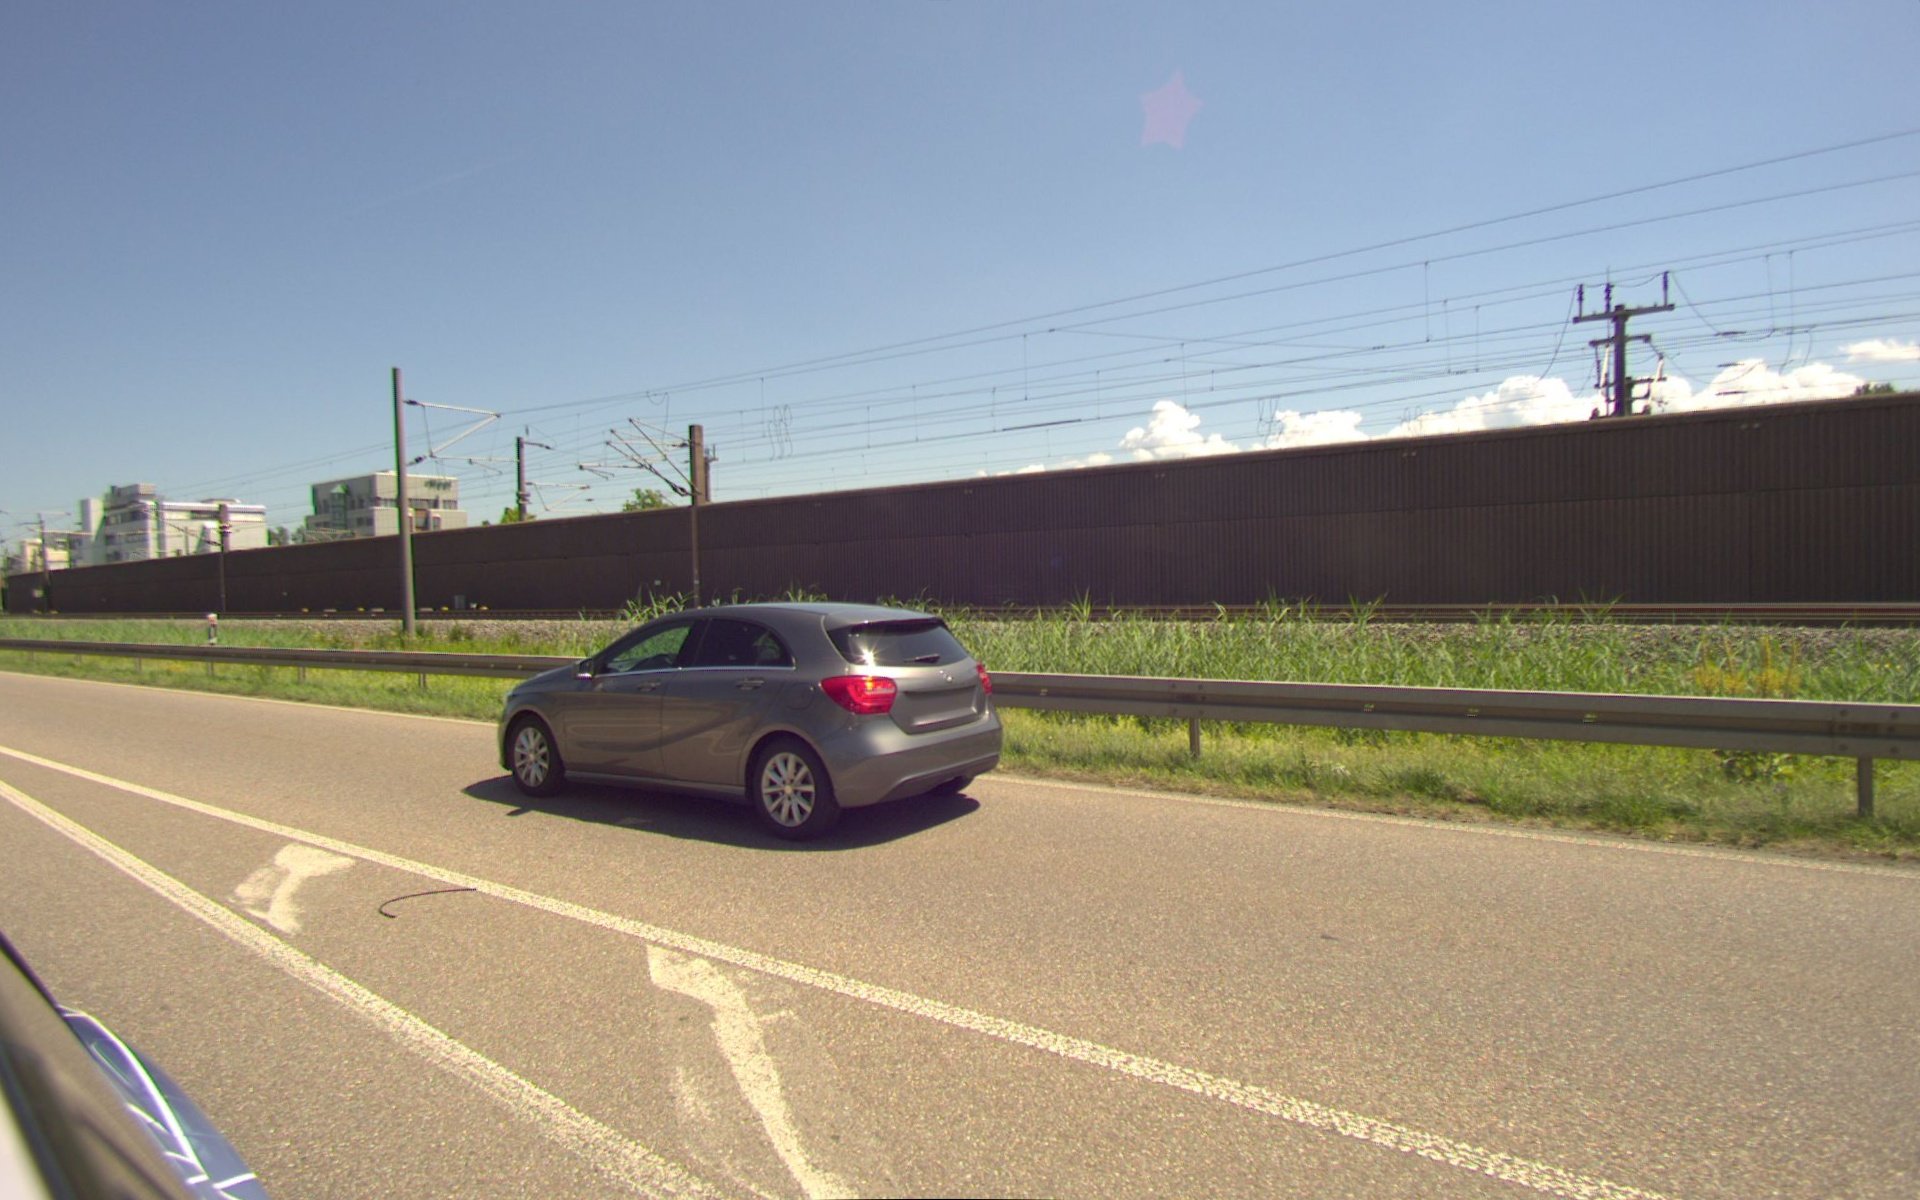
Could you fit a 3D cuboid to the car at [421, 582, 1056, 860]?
[{"bbox_3d":[-1.867,0.677,7.631,4.876,1.496,1.849,-1,0,35],"label":"car"}]
